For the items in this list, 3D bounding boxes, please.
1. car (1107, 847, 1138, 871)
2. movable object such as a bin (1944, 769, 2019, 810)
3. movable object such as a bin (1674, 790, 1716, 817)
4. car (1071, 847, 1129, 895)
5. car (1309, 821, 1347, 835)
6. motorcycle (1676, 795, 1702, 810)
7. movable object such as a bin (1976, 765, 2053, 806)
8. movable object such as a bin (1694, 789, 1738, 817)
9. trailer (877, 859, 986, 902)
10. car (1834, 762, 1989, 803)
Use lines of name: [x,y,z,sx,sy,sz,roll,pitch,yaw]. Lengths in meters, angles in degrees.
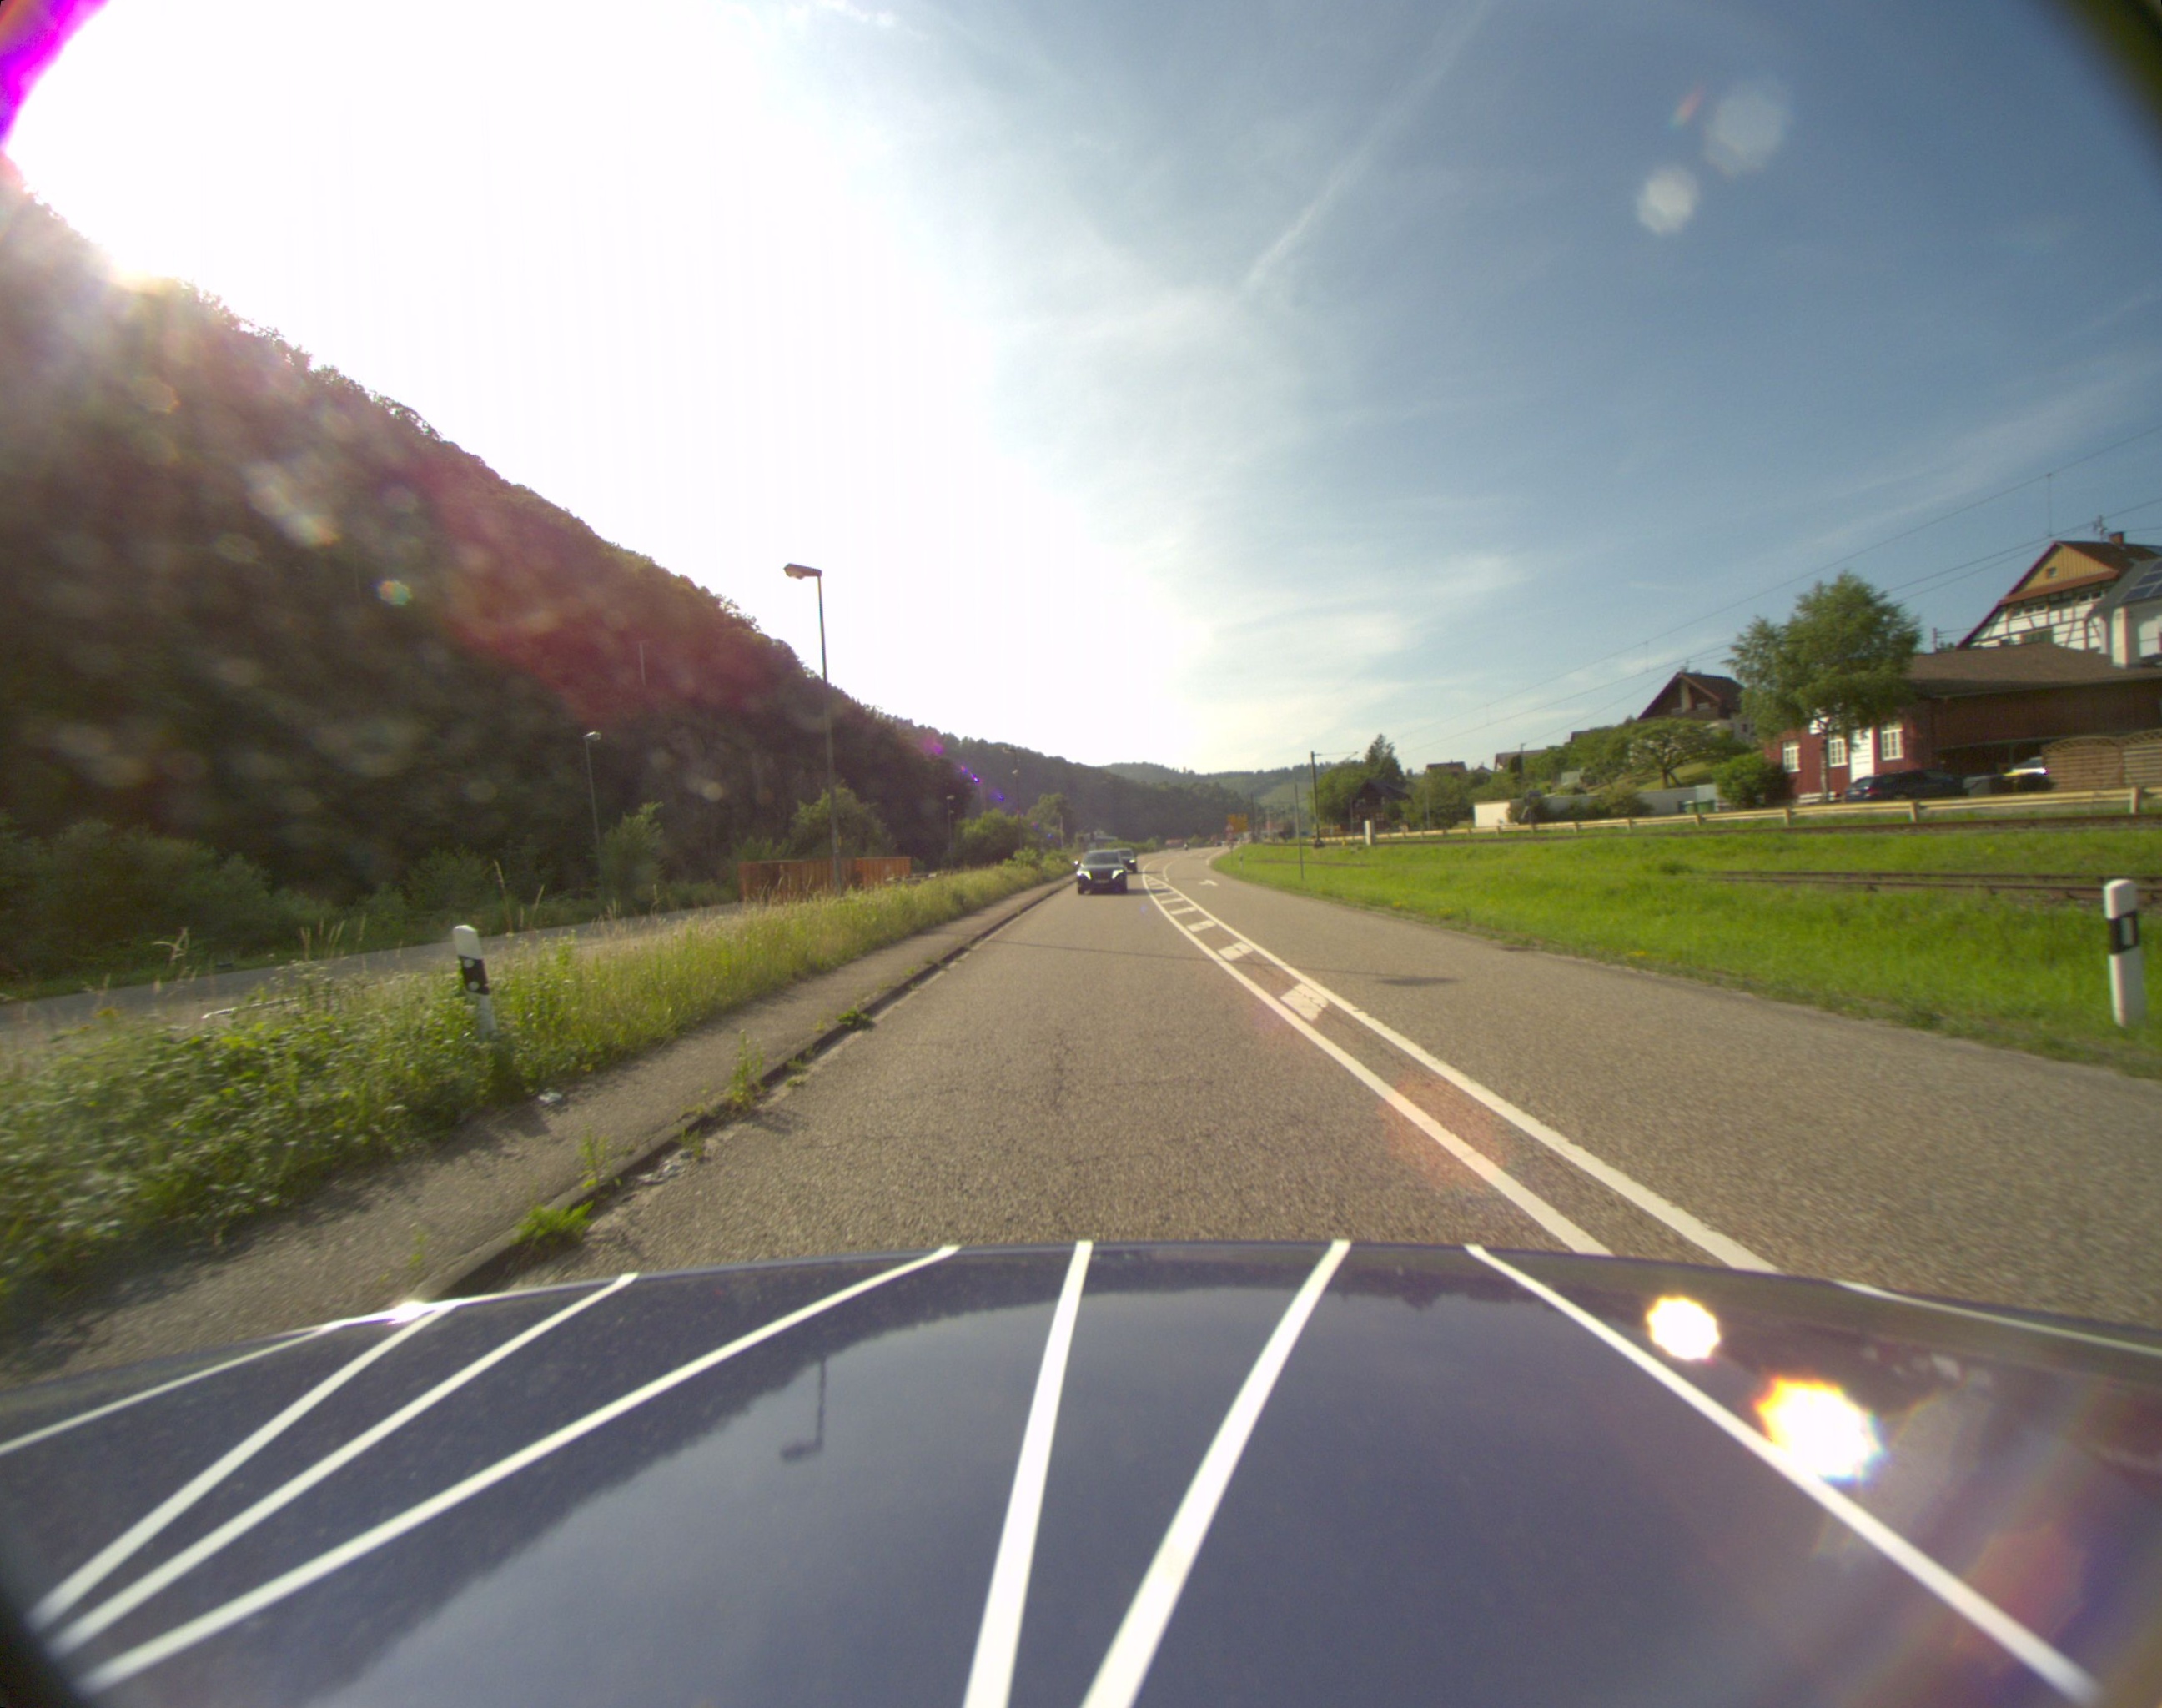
car: [2.815,0.299,51.345,1.918,1.455,4.001,-5,0,4]
movable object such as a bin: [29.725,-2.106,25.105,1.092,1.185,1.143,-4,1,2]
movable object such as a bin: [30.523,-2.505,37.814,1.142,1.185,1.093,-4,1,-3]
car: [0.853,0.601,30.190,1.998,1.661,5.511,-2,0,4]
car: [51.878,-5.484,159.762,7.071,2.442,2.953,-4,0,25]
motorcycle: [46.406,-3.902,58.030,0.664,0.987,1.744,-4,1,7]
movable object such as a bin: [30.888,-2.267,25.152,1.092,1.185,1.143,-4,1,2]
movable object such as a bin: [30.574,-2.441,36.583,1.142,1.185,1.093,-4,1,-3]
trailer: [-7.074,1.171,37.705,2.798,1.466,9.888,-6,0,3]
car: [35.208,-2.992,32.342,4.100,1.263,1.738,-4,0,18]
